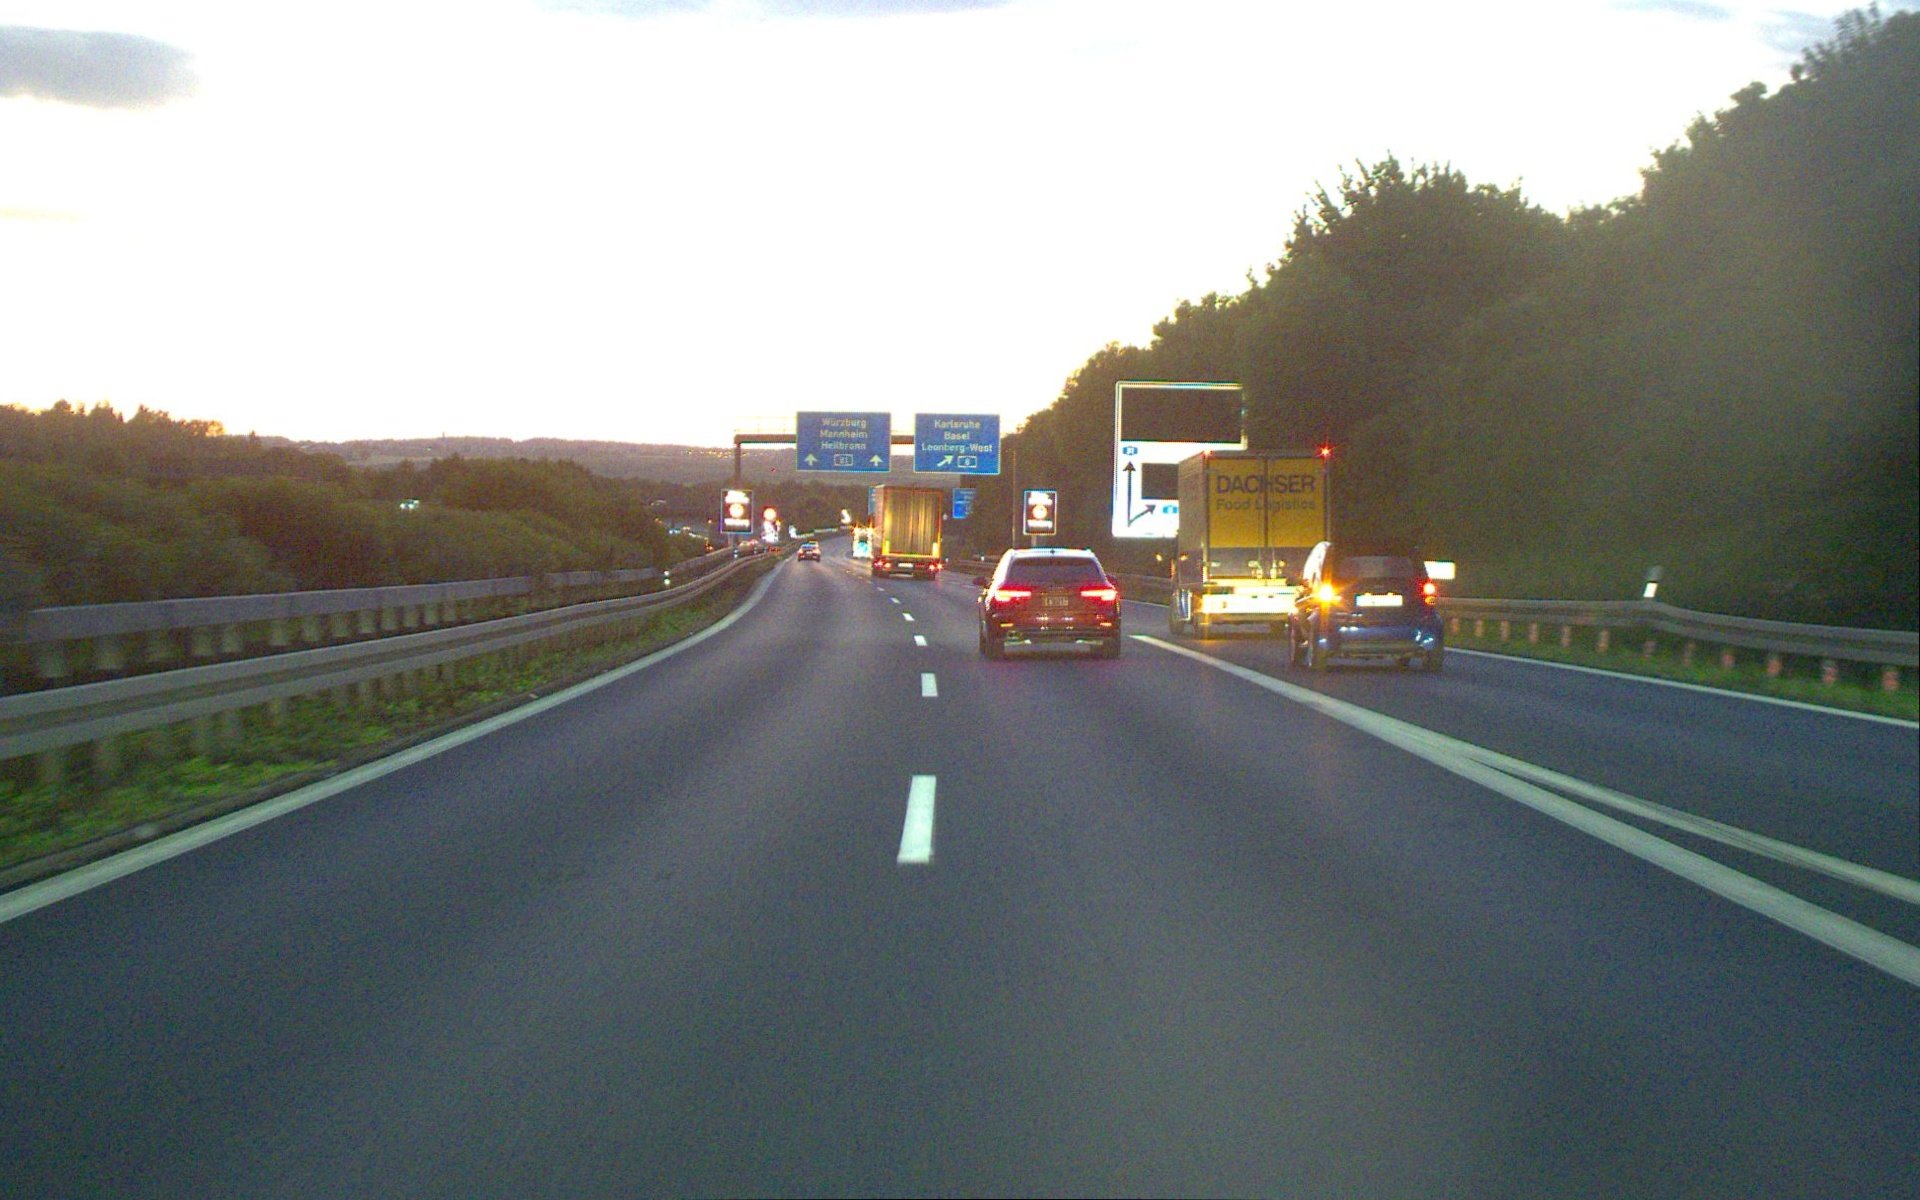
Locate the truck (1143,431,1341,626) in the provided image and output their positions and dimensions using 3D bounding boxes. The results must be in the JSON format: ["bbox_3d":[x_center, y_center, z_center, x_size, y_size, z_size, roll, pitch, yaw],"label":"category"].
[{"bbox_3d":[4.616,-1.181,57.479,2.268,2.961,6.632,3,1,-3],"label":"truck"}]

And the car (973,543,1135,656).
[{"bbox_3d":[1.228,-0.019,46.419,1.915,1.437,4.000,1,0,-2],"label":"car"}]

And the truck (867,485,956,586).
[{"bbox_3d":[-2.198,-2.823,152.142,3.509,4.286,9.892,1,0,-3],"label":"truck"}]

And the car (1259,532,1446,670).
[{"bbox_3d":[4.622,-0.004,40.862,1.610,1.550,3.319,1,0,-4],"label":"car"}]
